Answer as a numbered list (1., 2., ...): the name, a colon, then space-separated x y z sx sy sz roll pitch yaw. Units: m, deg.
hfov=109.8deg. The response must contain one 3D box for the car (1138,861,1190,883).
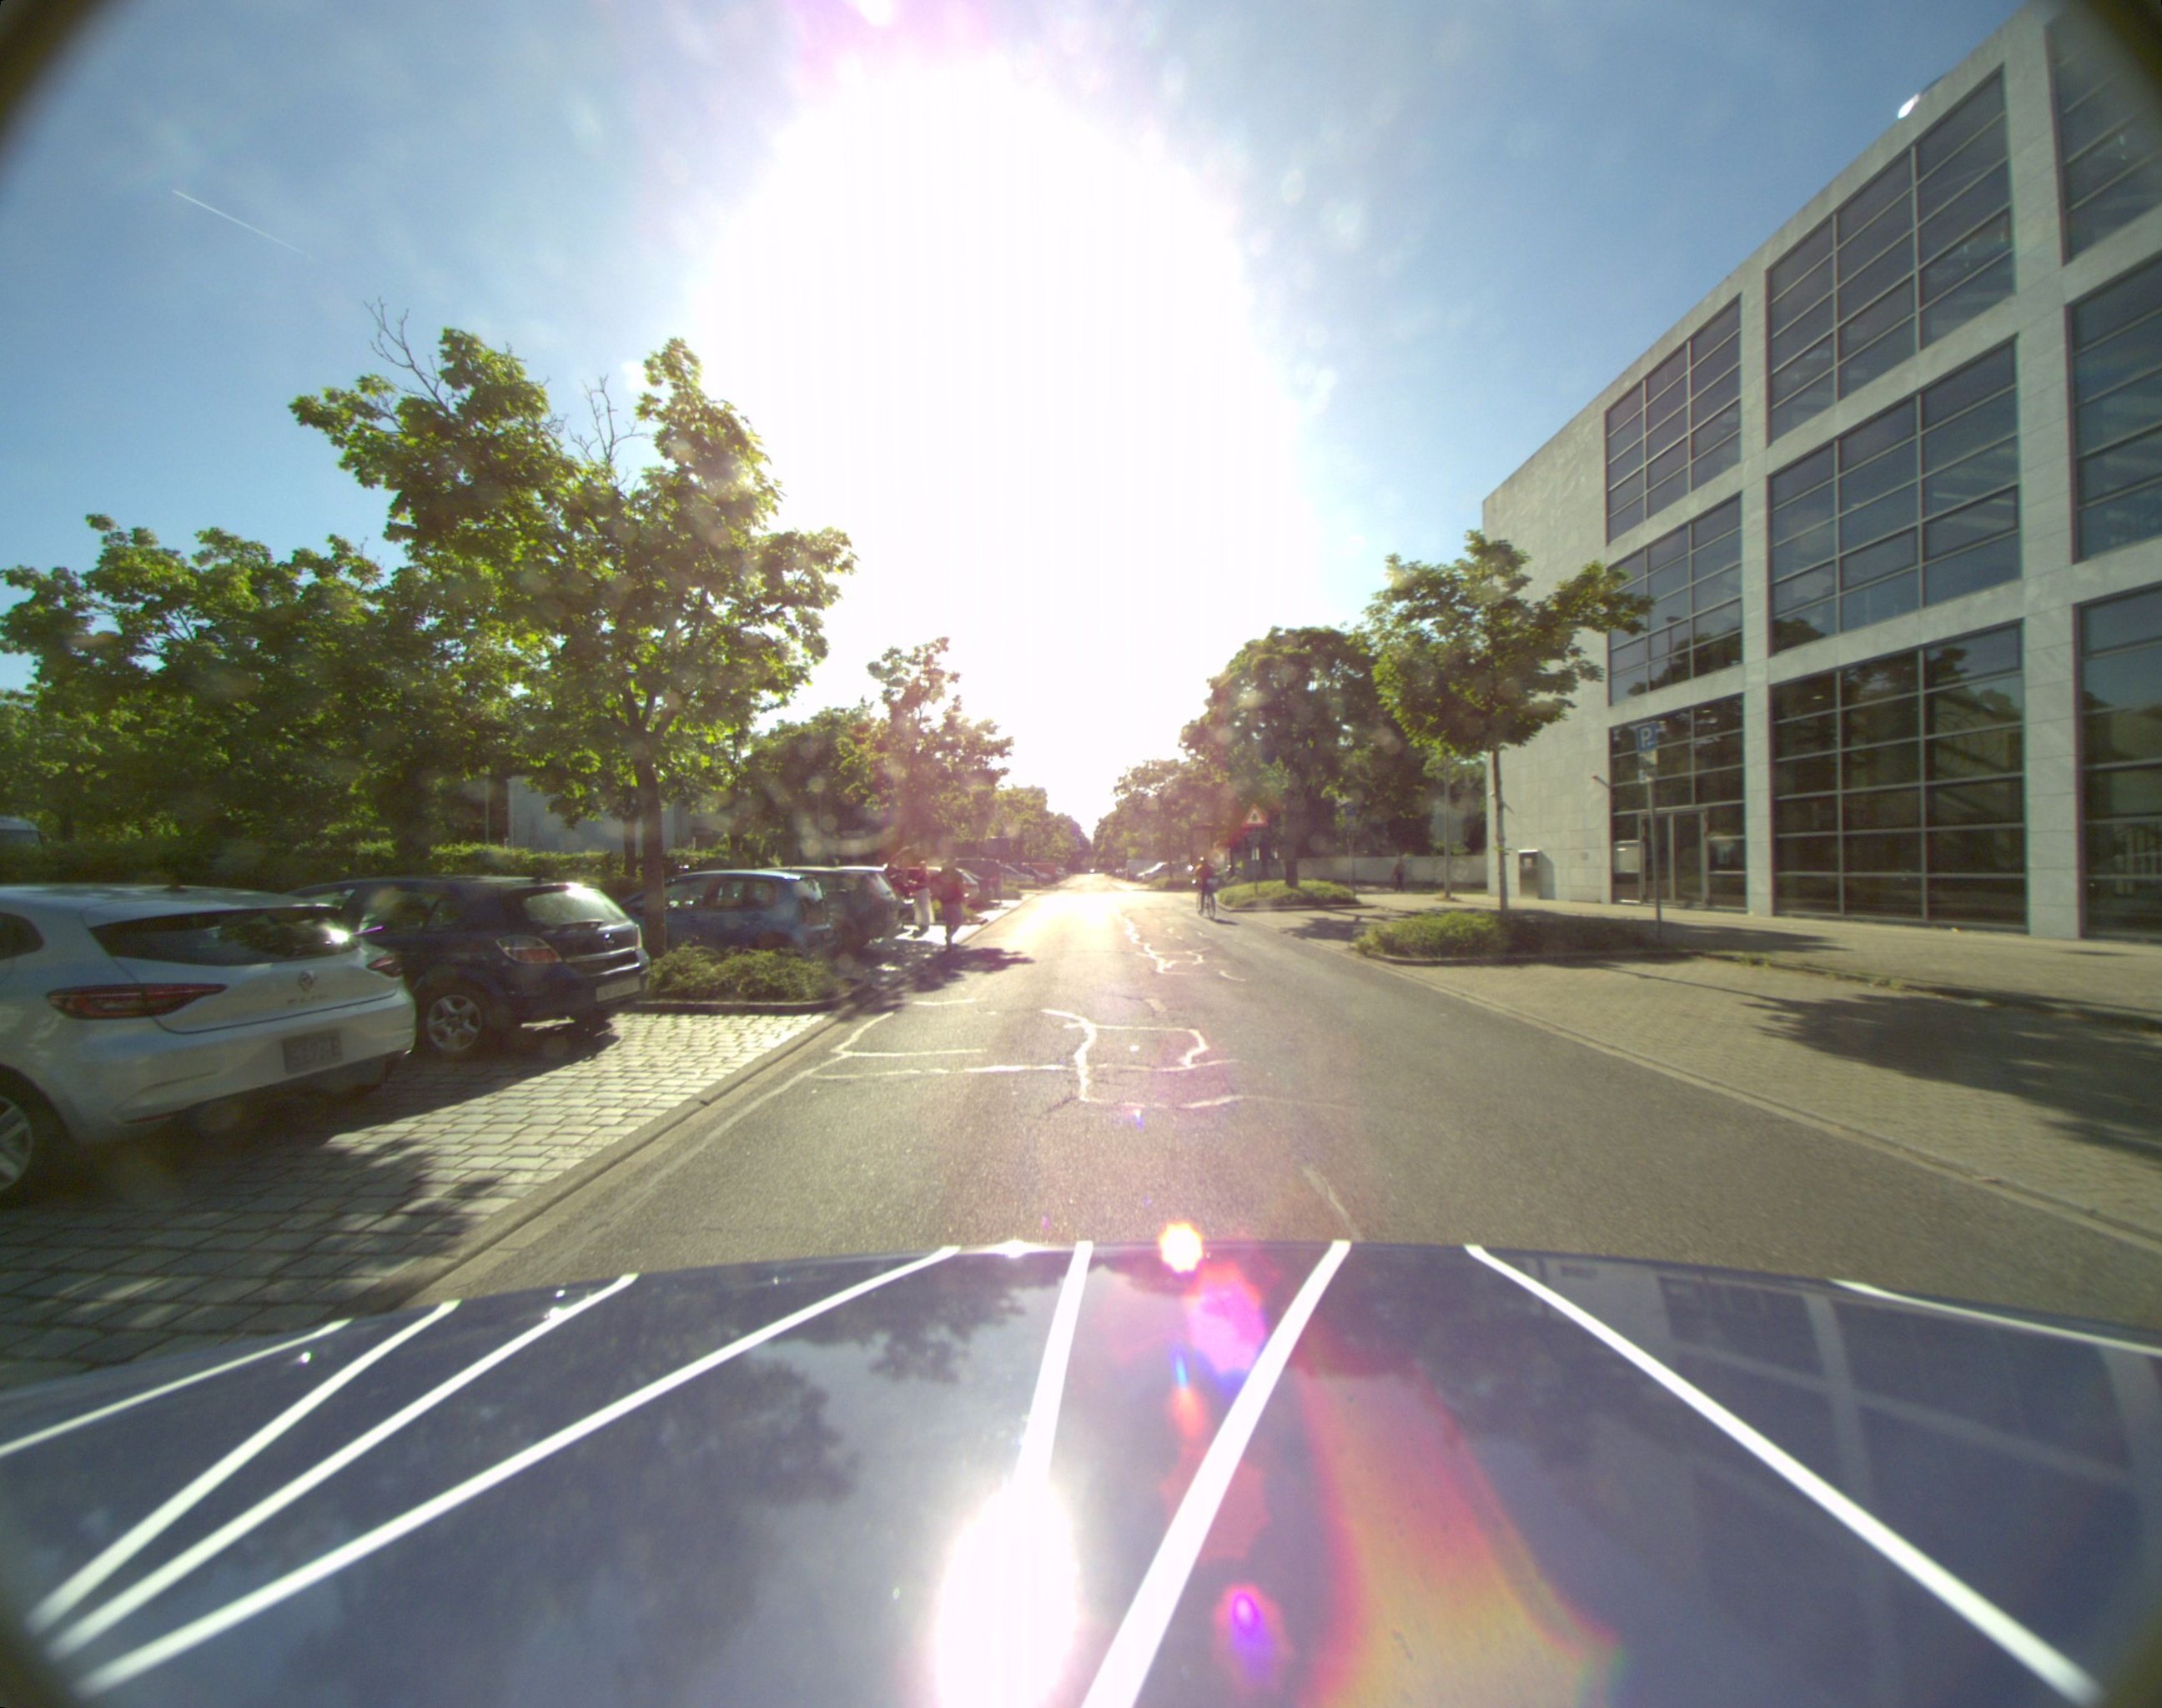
1. car: 7.647 1.706 70.223 4.633 1.979 2.000 0 -2 0

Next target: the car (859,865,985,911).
1. car: -5.339 1.144 25.880 3.909 1.428 1.808 1 -1 -1

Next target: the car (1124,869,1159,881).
1. car: 7.970 2.734 100.294 4.562 1.590 2.000 0 -2 0

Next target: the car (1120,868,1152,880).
1. car: 8.125 3.002 113.016 4.562 1.819 2.000 0 -2 0

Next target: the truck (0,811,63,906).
1. truck: -46.355 0.188 30.677 6.917 3.783 2.813 0 -1 2

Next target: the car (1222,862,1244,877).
1. car: 16.475 1.642 82.266 1.833 1.604 4.146 1 0 5

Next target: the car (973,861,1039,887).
1. car: -4.886 1.302 50.116 4.165 1.588 1.829 1 0 -1

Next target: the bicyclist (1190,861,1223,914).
1. bicyclist: 3.519 0.922 21.422 0.759 1.423 1.132 1 0 2

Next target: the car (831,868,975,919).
1. car: -5.211 1.155 22.628 3.909 1.418 1.672 0 0 -1

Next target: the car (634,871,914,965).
1. car: -5.219 1.071 13.333 4.197 1.510 1.736 0 0 -1

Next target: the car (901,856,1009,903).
1. car: -5.244 1.036 31.934 4.165 1.836 1.880 1 0 1

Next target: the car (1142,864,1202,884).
1. car: 7.464 1.627 62.562 4.684 1.397 1.829 -2 -1 2

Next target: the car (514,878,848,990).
1. car: -5.543 1.084 10.899 3.909 1.459 1.621 0 -2 -1

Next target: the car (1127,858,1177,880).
1. car: 7.503 1.624 80.679 5.132 2.364 2.000 0 -1 0

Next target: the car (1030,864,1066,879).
1. car: -3.988 2.124 91.567 4.257 1.743 1.974 1 0 -1

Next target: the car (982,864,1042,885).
1. car: -4.924 1.476 54.712 4.165 1.397 1.829 1 0 -1

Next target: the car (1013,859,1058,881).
1. car: -4.372 1.537 73.426 4.257 2.020 1.974 1 0 -1

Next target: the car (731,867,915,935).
1. car: -6.159 1.123 18.462 3.909 1.568 1.680 0 -2 -1

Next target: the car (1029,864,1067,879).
1. car: -3.751 1.971 86.847 4.257 1.604 1.974 1 0 -1

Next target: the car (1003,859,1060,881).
1. car: -4.152 1.339 64.112 4.662 1.762 1.829 1 0 -1

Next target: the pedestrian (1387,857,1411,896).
1. pedestrian: 14.004 0.985 33.481 0.837 1.674 0.808 1 0 14

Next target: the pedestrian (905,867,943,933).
1. pedestrian: -3.818 1.103 18.526 0.766 1.569 0.674 0 -1 0

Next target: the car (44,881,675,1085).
1. car: -6.050 1.014 6.744 3.904 1.489 1.843 0 -1 2

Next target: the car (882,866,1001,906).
1. car: -5.235 1.191 28.922 4.165 1.397 1.829 1 0 -1

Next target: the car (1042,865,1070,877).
1. car: -3.767 2.501 114.779 4.257 1.705 1.974 1 0 -1

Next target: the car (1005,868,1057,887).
1. car: -4.037 1.894 61.711 4.165 1.397 1.829 1 0 -1

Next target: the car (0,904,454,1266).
1. car: -6.066 1.034 4.180 3.741 1.408 1.843 0 -1 2

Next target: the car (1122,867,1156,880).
1. car: 8.155 2.710 107.329 4.562 1.819 2.000 0 -2 0

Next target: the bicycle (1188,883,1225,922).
1. bicycle: 3.520 1.346 21.454 0.759 0.996 1.872 1 0 2

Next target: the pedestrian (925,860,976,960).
1. pedestrian: -2.419 1.005 14.161 0.721 1.761 1.168 1 0 -1
